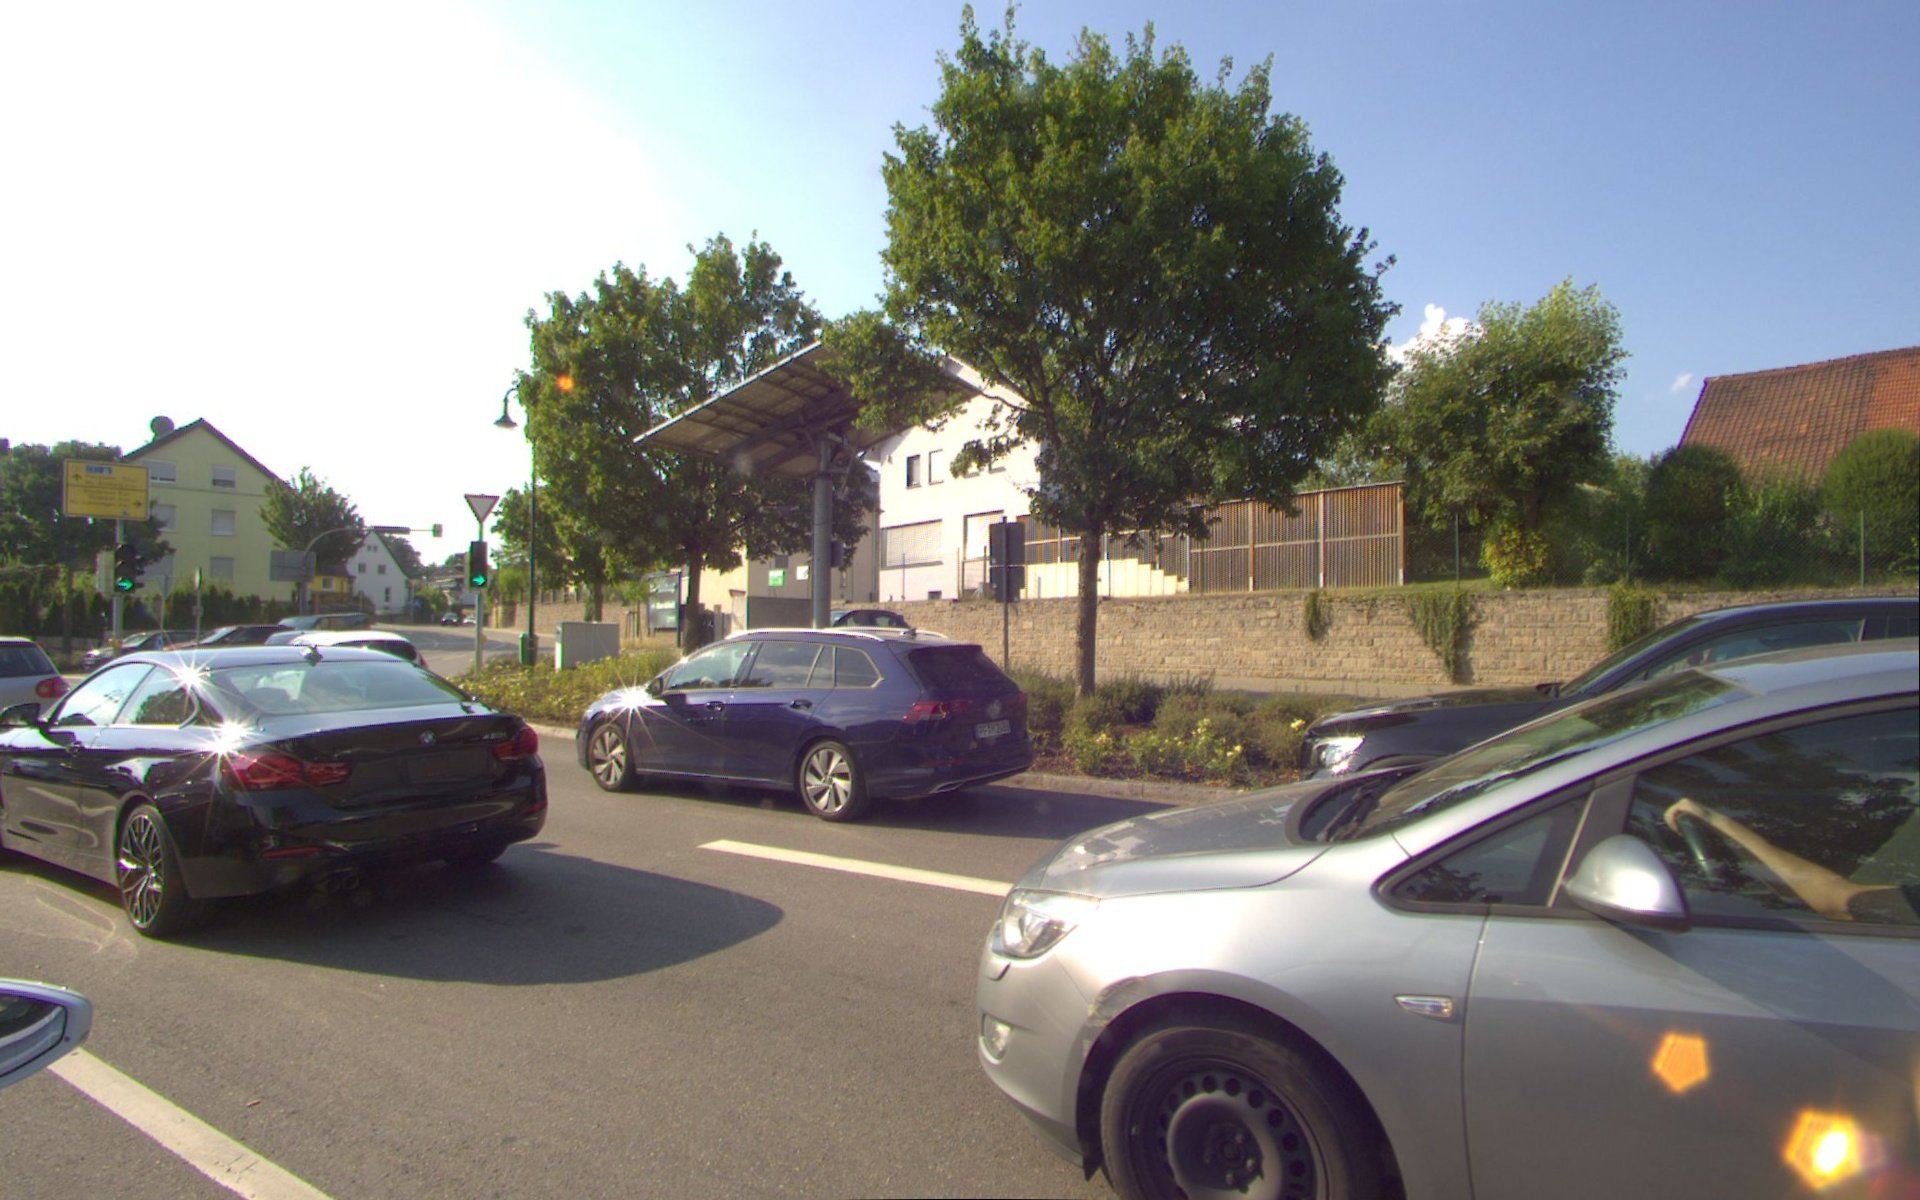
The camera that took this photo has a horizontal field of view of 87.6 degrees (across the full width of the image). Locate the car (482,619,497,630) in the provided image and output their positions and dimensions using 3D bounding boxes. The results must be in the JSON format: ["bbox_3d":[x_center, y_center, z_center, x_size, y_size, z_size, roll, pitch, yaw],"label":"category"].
[{"bbox_3d":[-76.202,3.993,162.316,1.939,1.701,4.202,0,-1,-23],"label":"car"}]

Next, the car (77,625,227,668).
[{"bbox_3d":[-30.060,1.714,37.361,1.821,1.508,3.983,-1,-2,30],"label":"car"}]

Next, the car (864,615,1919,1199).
[{"bbox_3d":[2.016,0.781,2.263,4.256,1.472,1.758,-1,0,31],"label":"car"}]

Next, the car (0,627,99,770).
[{"bbox_3d":[-11.480,1.048,11.228,3.848,1.444,1.758,-1,0,33],"label":"car"}]

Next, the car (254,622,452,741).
[{"bbox_3d":[-9.119,1.116,14.960,3.279,1.562,1.610,-1,0,41],"label":"car"}]

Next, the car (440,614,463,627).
[{"bbox_3d":[-66.665,2.711,131.364,1.937,1.701,4.207,0,-1,-18],"label":"car"}]

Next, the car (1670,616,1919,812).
[{"bbox_3d":[8.238,0.946,9.742,1.758,1.510,4.120,-1,-2,41],"label":"car"}]

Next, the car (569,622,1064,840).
[{"bbox_3d":[-1.380,0.948,8.819,4.259,1.472,1.757,-1,0,34],"label":"car"}]

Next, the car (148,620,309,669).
[{"bbox_3d":[-26.474,1.594,36.407,1.818,1.662,4.418,0,-2,25],"label":"car"}]

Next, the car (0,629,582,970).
[{"bbox_3d":[-4.422,0.910,6.183,4.220,1.416,1.758,-1,0,33],"label":"car"}]

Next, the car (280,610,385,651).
[{"bbox_3d":[-28.239,1.395,45.254,1.812,1.761,4.786,0,-2,-2],"label":"car"}]

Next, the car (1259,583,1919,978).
[{"bbox_3d":[3.999,0.752,5.096,4.496,1.630,1.760,-1,0,29],"label":"car"}]

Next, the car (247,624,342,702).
[{"bbox_3d":[-15.185,1.360,22.998,1.639,1.562,4.373,-1,0,-32],"label":"car"}]

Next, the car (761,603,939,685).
[{"bbox_3d":[-2.365,0.956,22.295,1.758,1.653,3.800,-1,-2,40],"label":"car"}]
